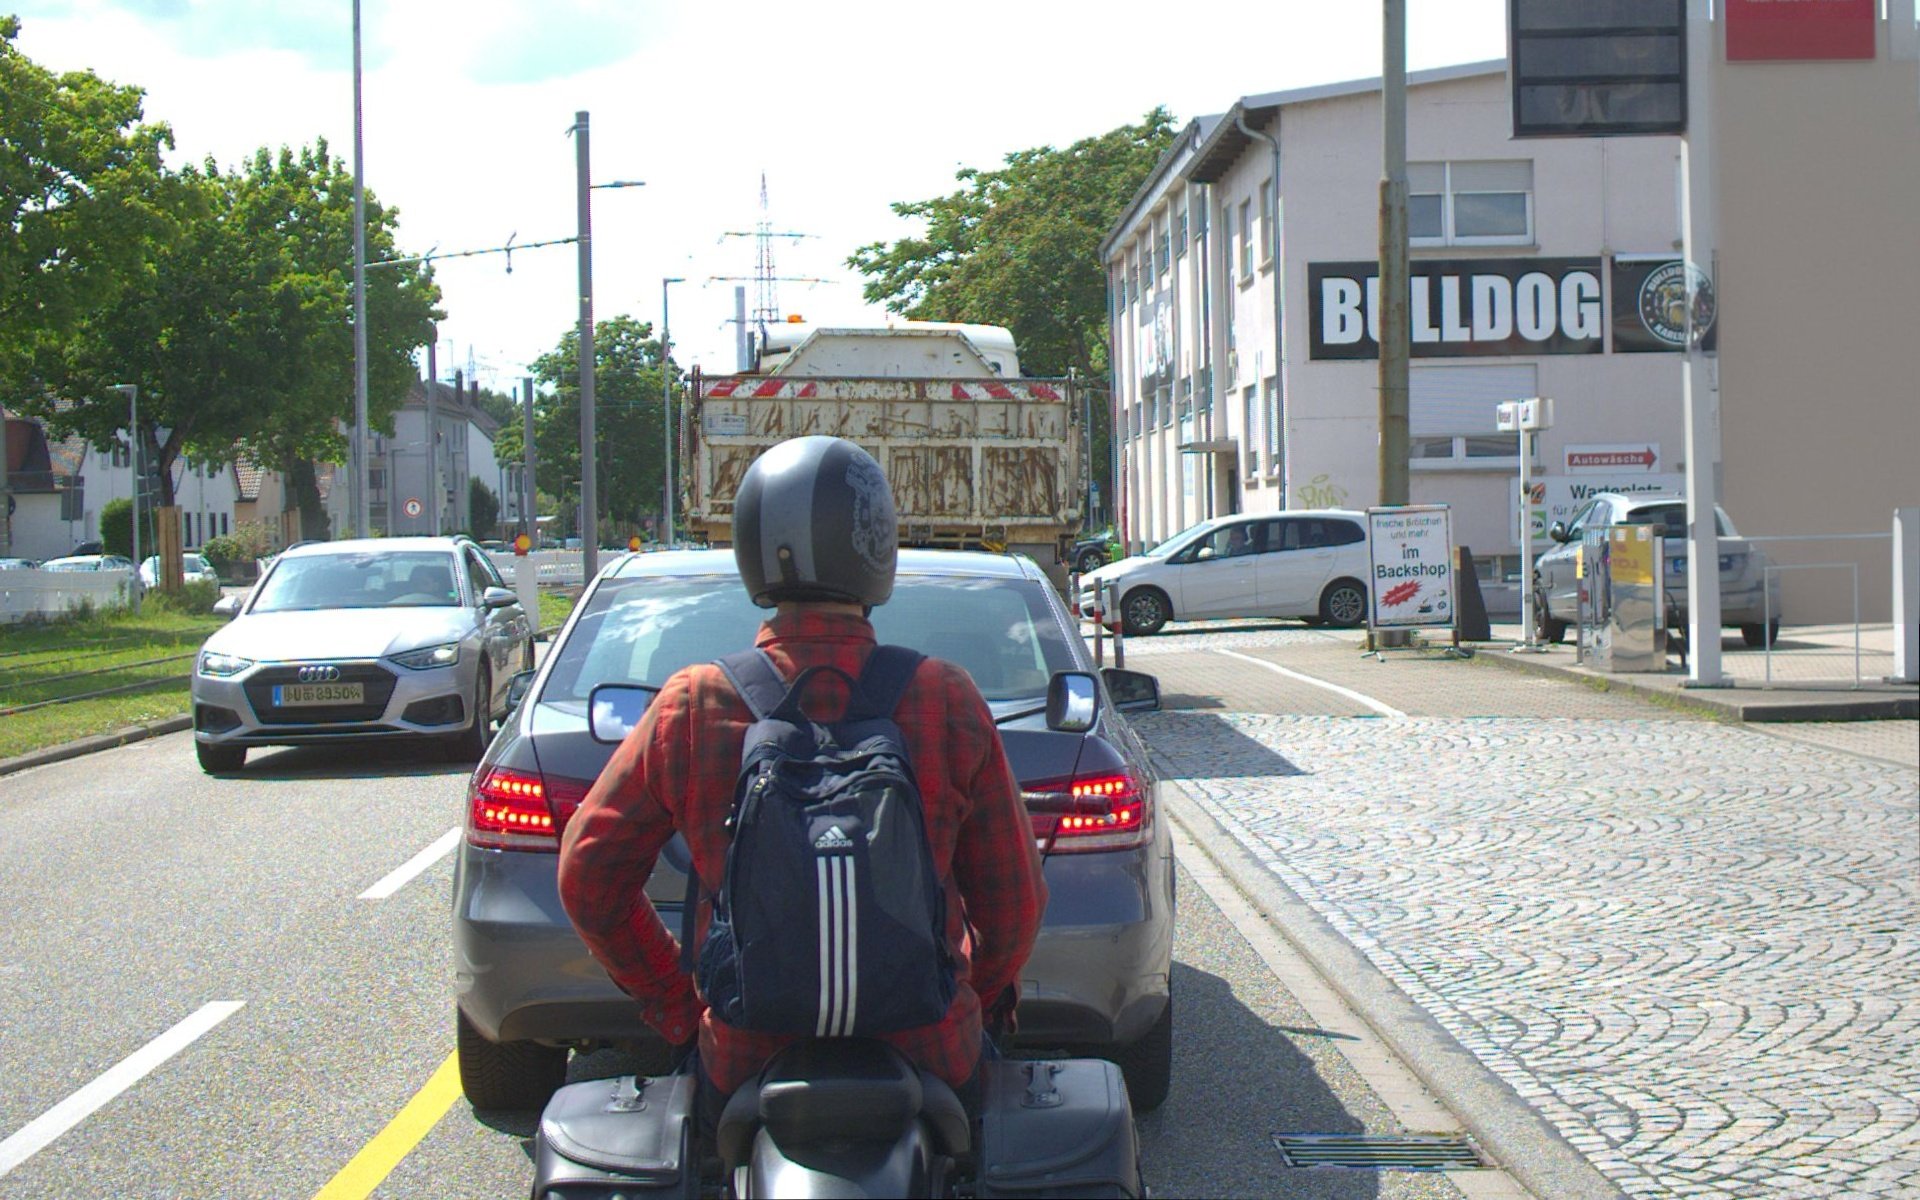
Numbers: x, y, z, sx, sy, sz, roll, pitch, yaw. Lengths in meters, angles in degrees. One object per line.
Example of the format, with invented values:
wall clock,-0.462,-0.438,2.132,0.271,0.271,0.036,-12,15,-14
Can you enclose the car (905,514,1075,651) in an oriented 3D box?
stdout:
car,0.317,-0.233,38.925,1.821,1.459,4.000,0,1,0

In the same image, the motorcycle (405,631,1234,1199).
motorcycle,-0.183,0.748,5.262,0.939,1.316,2.645,1,1,-1

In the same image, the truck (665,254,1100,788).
truck,-0.485,-0.677,26.050,2.610,3.244,9.183,-2,2,0

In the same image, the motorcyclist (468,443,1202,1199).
motorcyclist,-0.175,0.598,5.078,0.939,1.609,1.205,1,1,-1

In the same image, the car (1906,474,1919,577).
car,17.271,-1.248,54.395,3.987,1.643,1.966,-2,1,-1

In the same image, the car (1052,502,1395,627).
car,3.587,-0.492,47.204,4.329,1.546,1.950,-2,1,-8

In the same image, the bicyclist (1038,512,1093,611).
bicyclist,1.865,-0.684,60.797,0.672,1.738,0.812,-1,1,26

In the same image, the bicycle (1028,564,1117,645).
bicycle,2.007,0.069,61.007,0.693,1.357,2.416,-1,1,24

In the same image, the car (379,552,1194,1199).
car,-0.411,0.598,9.734,1.821,1.419,4.000,0,1,-1

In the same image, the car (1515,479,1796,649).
car,7.314,-0.379,36.546,1.959,1.643,4.000,-2,1,-3

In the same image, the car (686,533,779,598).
car,-5.136,-0.791,77.932,1.846,1.382,4.345,-2,1,-1

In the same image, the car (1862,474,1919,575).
car,17.233,-1.300,56.940,3.987,1.643,1.966,-2,1,-1

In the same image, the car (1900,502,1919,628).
car,11.818,-0.409,37.280,1.959,1.415,4.000,-2,1,-3

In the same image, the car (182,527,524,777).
car,-3.944,0.268,22.956,1.654,1.442,4.304,-2,1,-2
